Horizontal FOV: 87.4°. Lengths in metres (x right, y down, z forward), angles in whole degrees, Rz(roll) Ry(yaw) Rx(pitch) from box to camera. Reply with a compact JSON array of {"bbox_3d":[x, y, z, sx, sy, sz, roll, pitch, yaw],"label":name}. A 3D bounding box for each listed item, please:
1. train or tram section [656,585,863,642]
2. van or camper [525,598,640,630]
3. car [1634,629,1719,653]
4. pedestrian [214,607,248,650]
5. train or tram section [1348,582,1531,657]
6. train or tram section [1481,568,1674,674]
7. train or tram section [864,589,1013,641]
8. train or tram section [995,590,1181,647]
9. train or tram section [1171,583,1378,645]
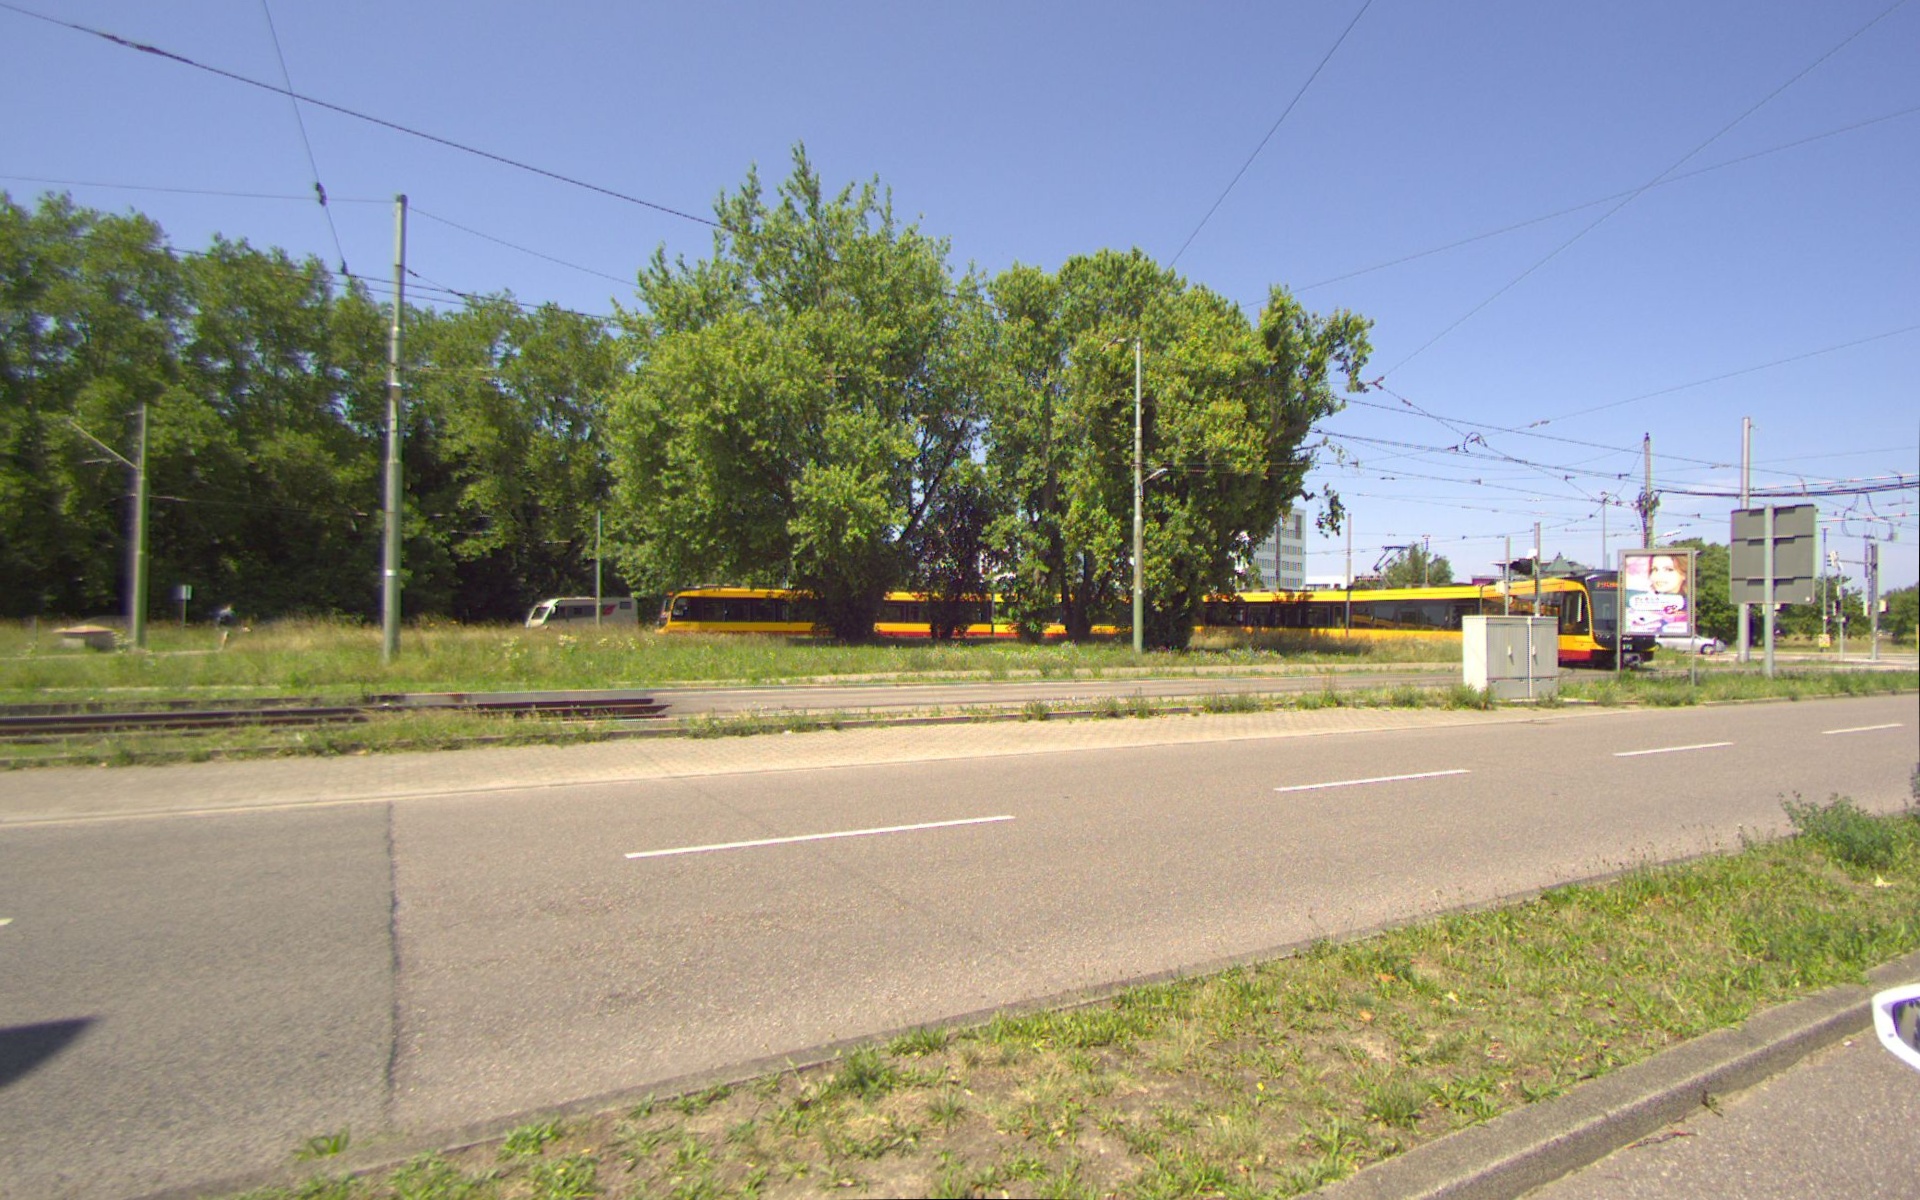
[{"bbox_3d":[-13.110,0.912,66.498,13.093,3.512,3.025,1,0,-27],"label":"train or tram section"},{"bbox_3d":[-25.803,0.922,68.906,1.971,2.040,7.318,1,0,42],"label":"van or camper"},{"bbox_3d":[44.725,2.553,62.817,4.208,1.311,1.994,0,0,33],"label":"car"},{"bbox_3d":[-28.000,1.093,38.591,0.677,1.595,0.791,1,1,14],"label":"pedestrian"},{"bbox_3d":[24.487,0.880,52.188,2.993,3.512,10.200,1,0,-12],"label":"train or tram section"},{"bbox_3d":[24.094,0.683,40.245,2.985,3.512,13.296,1,0,16],"label":"train or tram section"},{"bbox_3d":[-1.520,1.049,70.679,10.053,3.512,3.037,1,0,-15],"label":"train or tram section"},{"bbox_3d":[8.872,1.210,69.429,12.491,3.512,3.048,1,1,12],"label":"train or tram section"},{"bbox_3d":[19.154,0.725,62.483,3.022,3.512,12.598,1,1,-41],"label":"train or tram section"}]
